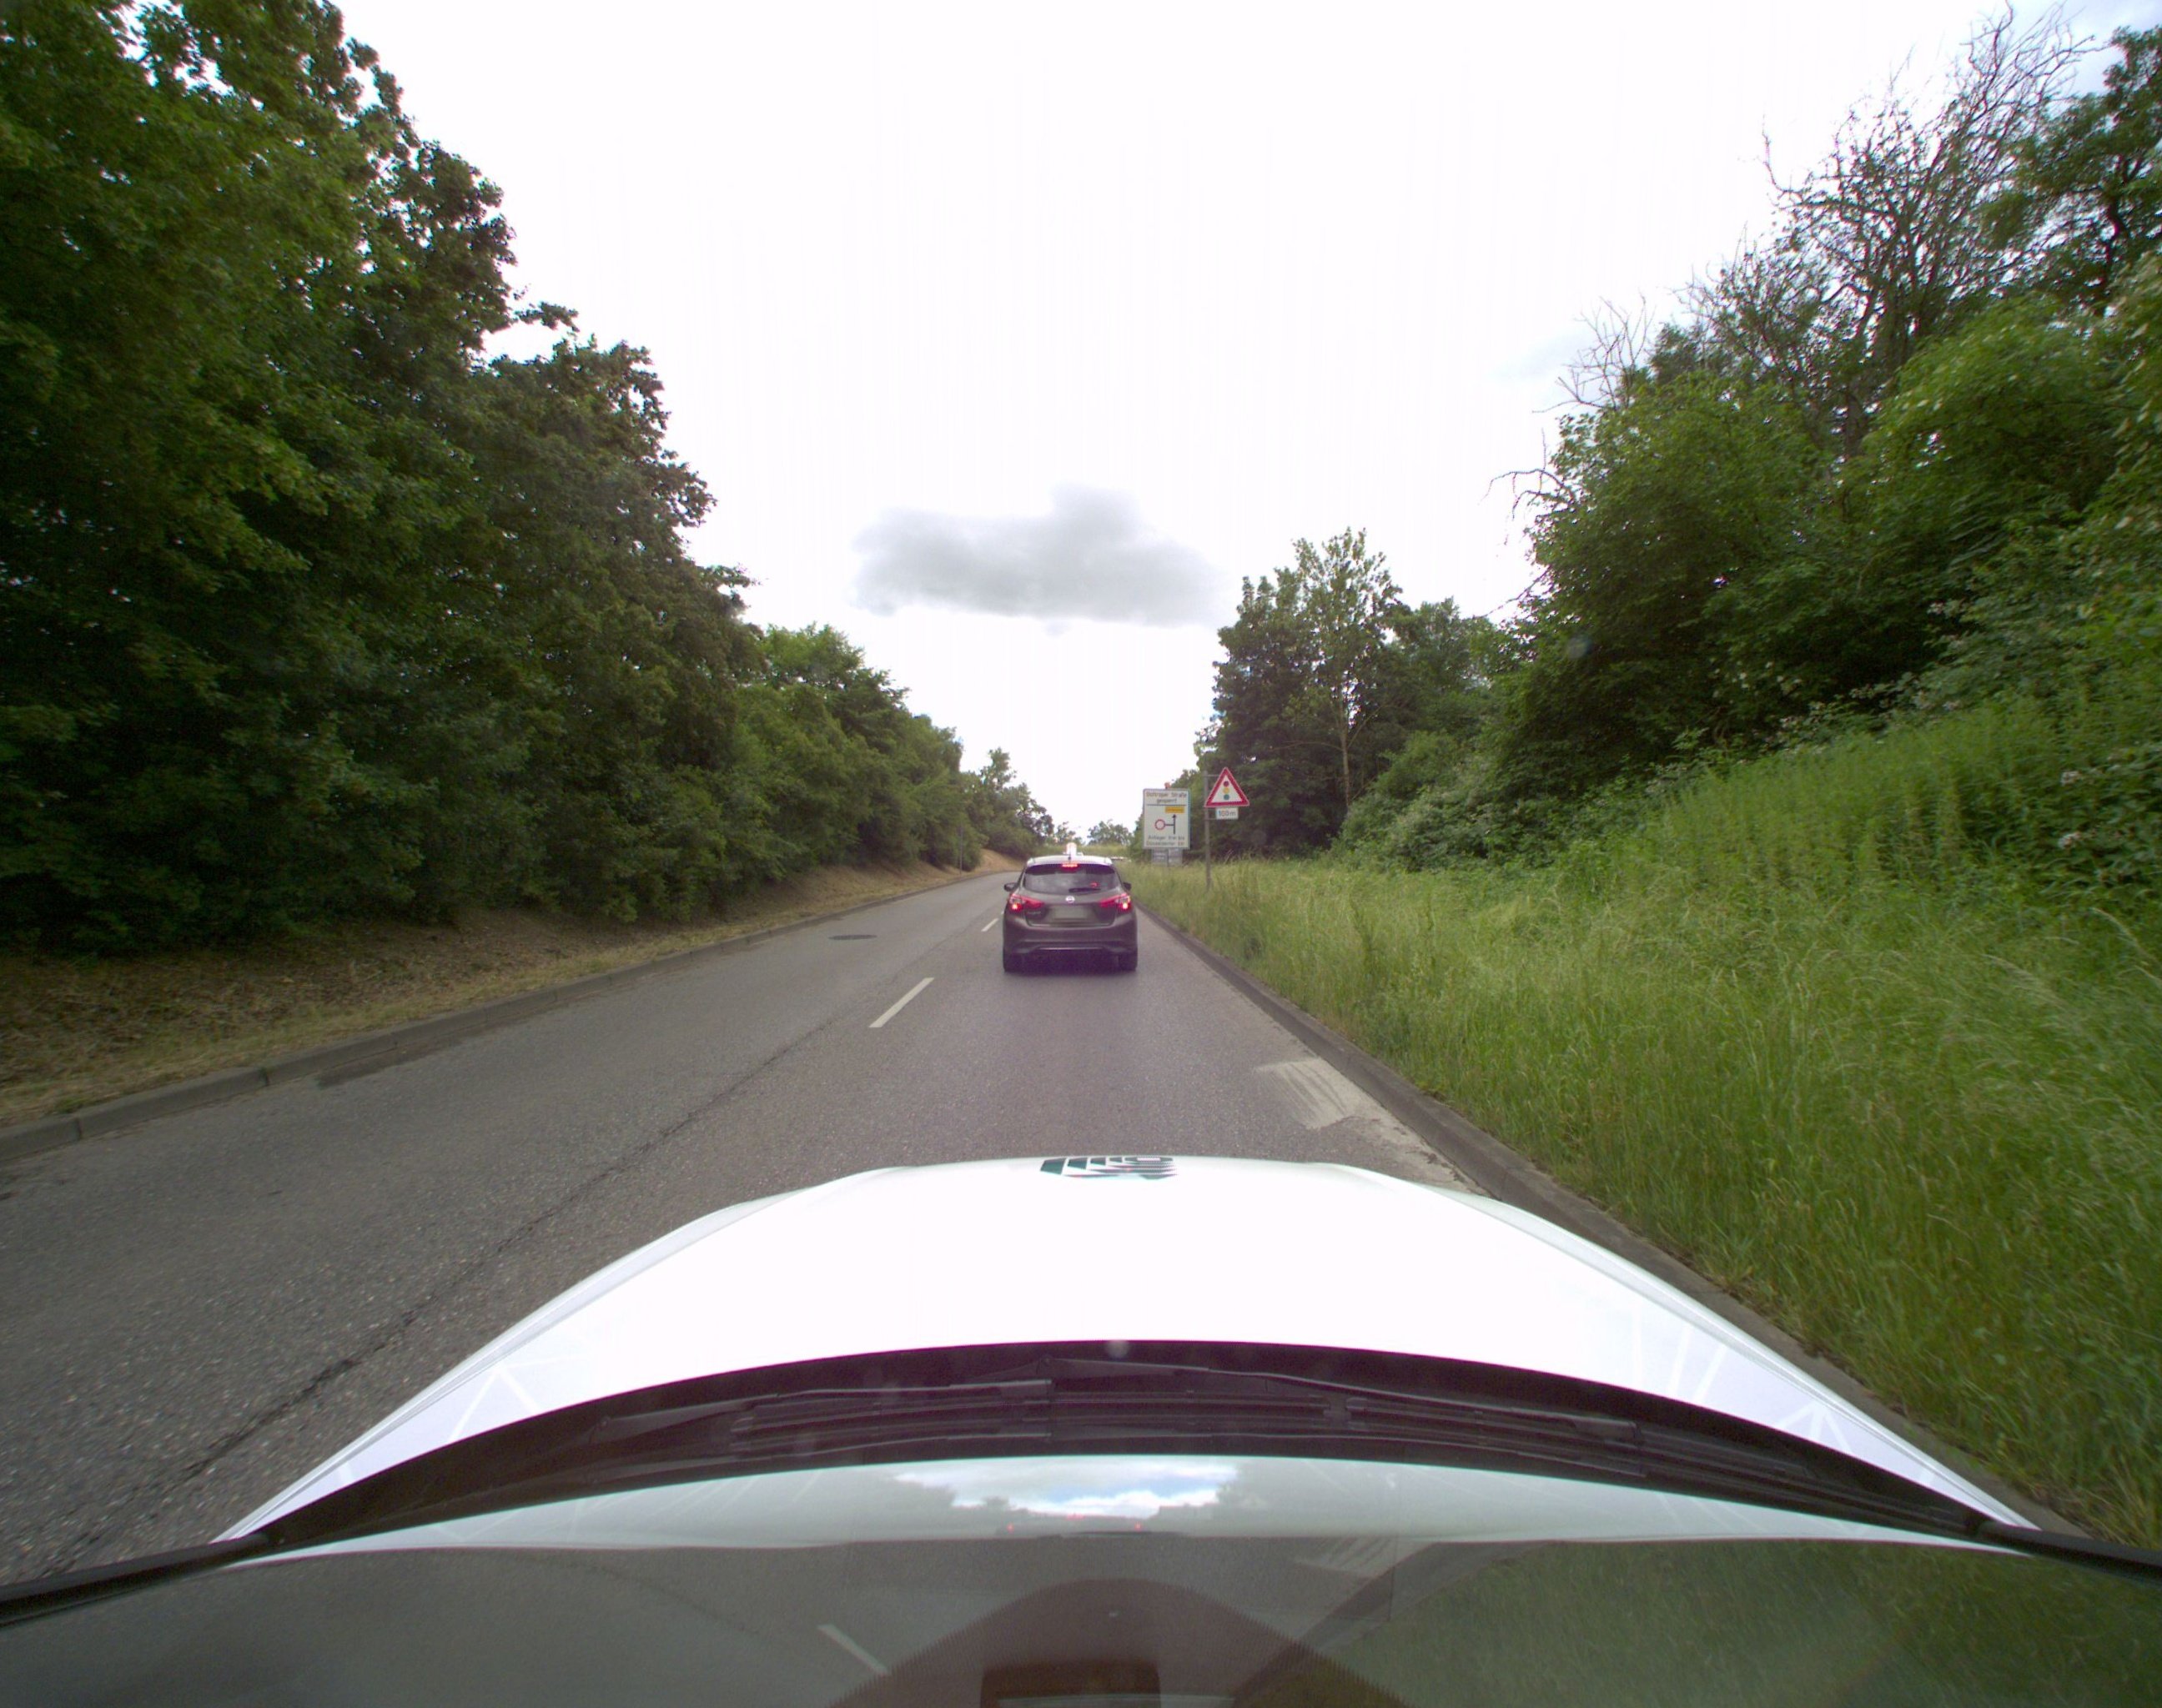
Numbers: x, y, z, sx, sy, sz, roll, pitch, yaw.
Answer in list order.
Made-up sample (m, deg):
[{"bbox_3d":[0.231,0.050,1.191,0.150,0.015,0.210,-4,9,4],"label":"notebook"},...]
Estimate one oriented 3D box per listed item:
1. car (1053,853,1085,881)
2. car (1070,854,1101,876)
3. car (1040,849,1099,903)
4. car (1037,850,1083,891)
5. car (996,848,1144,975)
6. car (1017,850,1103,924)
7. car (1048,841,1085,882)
[{"bbox_3d":[-0.660,0.702,46.676,1.731,1.526,3.542,-1,0,-1],"label":"car"},{"bbox_3d":[0.348,0.805,60.136,1.726,1.526,3.650,-1,0,8],"label":"car"},{"bbox_3d":[-0.338,0.651,25.944,1.730,1.556,3.543,-1,0,0],"label":"car"},{"bbox_3d":[-0.818,0.645,33.603,1.730,1.556,3.543,-1,0,0],"label":"car"},{"bbox_3d":[-0.169,0.707,11.817,1.825,1.556,3.497,-1,0,-1],"label":"car"},{"bbox_3d":[-0.440,0.704,19.329,1.824,1.556,3.624,-1,0,0],"label":"car"},{"bbox_3d":[-0.677,0.372,40.702,1.730,1.935,3.543,-1,0,0],"label":"car"}]
